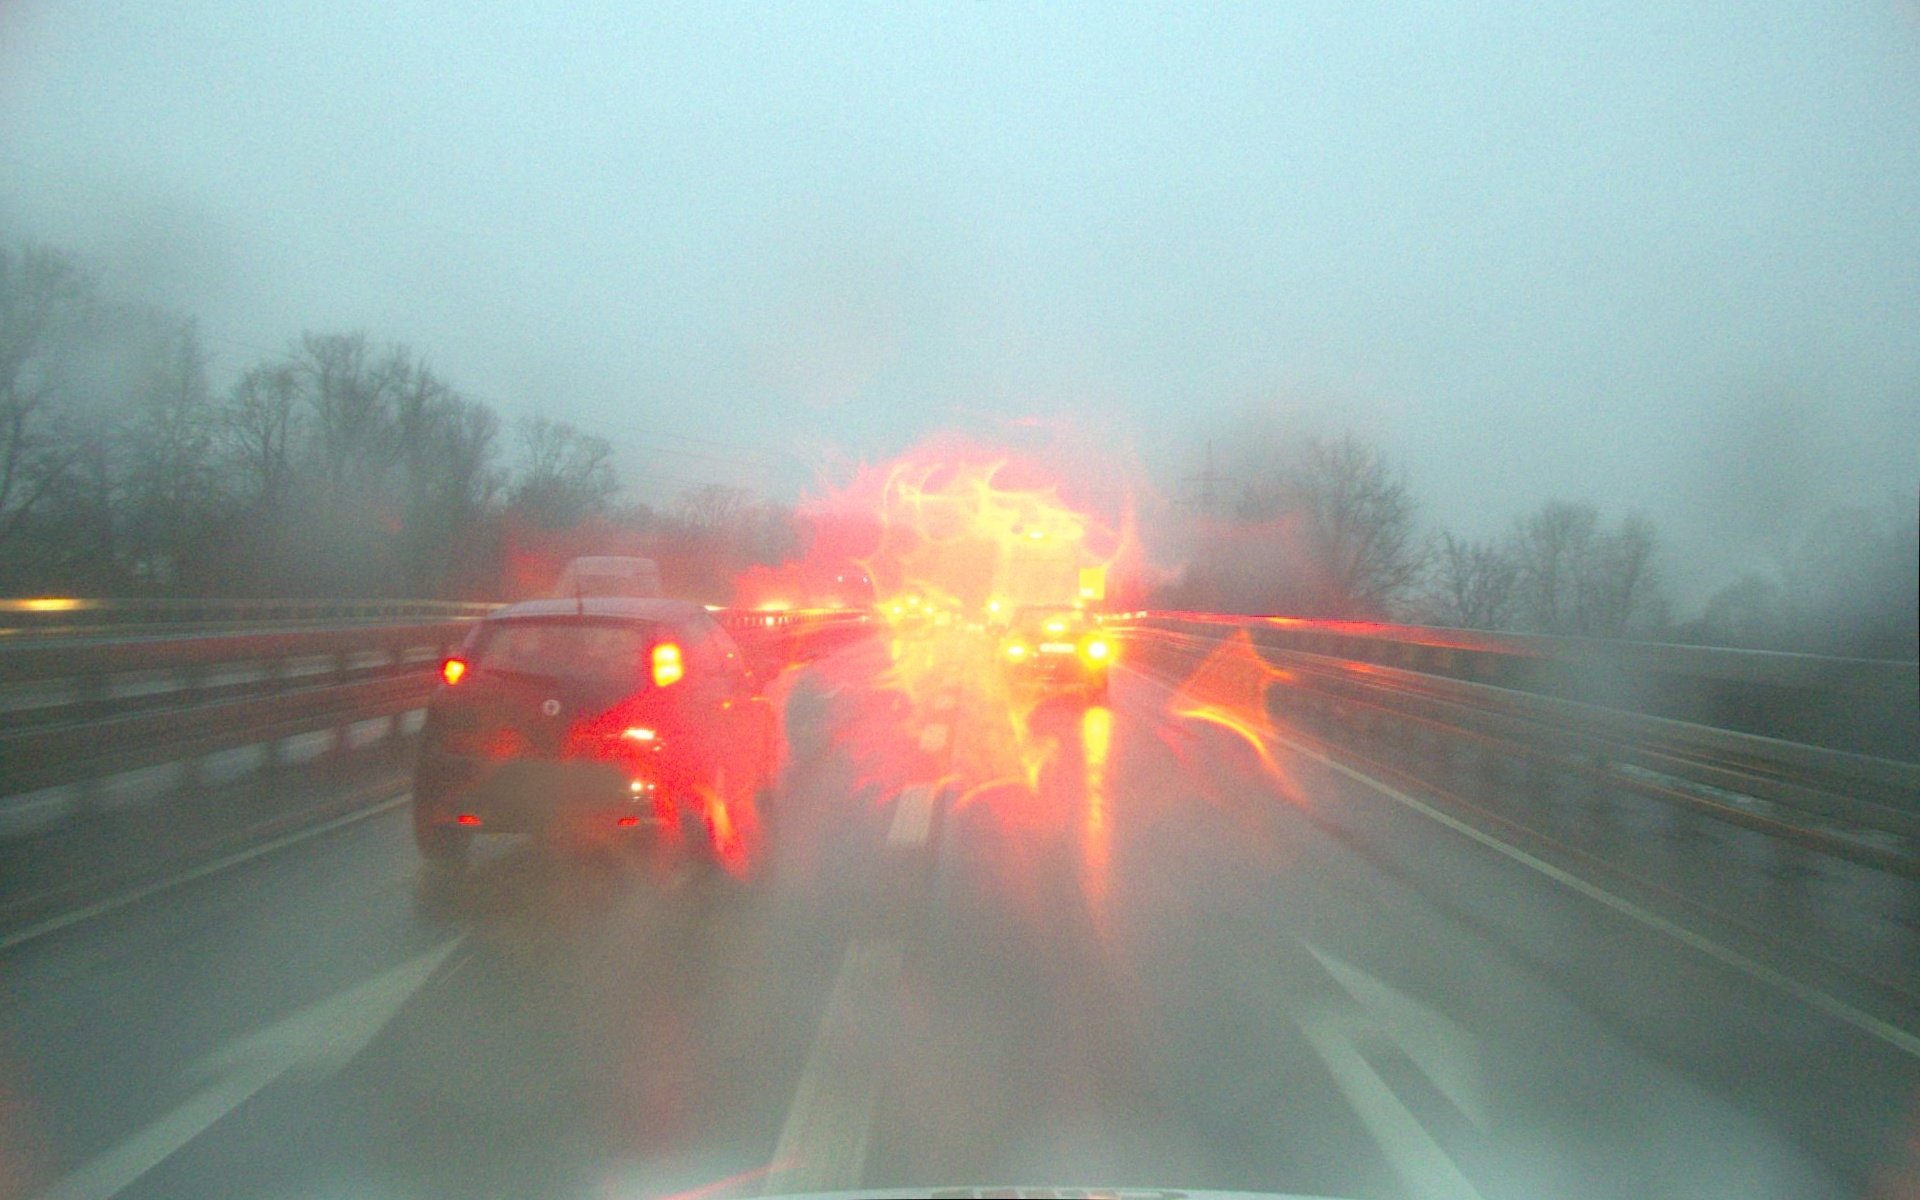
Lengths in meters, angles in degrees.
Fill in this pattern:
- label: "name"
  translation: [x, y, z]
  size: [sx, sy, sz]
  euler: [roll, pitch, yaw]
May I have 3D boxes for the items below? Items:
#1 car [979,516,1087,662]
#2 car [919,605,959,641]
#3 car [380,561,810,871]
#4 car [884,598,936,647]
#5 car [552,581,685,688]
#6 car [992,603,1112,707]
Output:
- label: "car"
  translation: [1.563, -0.186, 37.653]
  size: [2.235, 3.018, 6.390]
  euler: [0, -1, 1]
- label: "car"
  translation: [-1.107, 1.197, 85.691]
  size: [1.953, 1.744, 3.998]
  euler: [2, -1, -2]
- label: "car"
  translation: [-2.031, 0.630, 10.394]
  size: [1.694, 1.559, 4.042]
  euler: [0, -1, 2]
- label: "car"
  translation: [-2.033, 0.899, 68.176]
  size: [1.953, 1.846, 3.999]
  euler: [3, 0, -1]
- label: "car"
  translation: [-7.819, 0.782, 38.380]
  size: [2.007, 2.303, 5.207]
  euler: [0, -1, 0]
- label: "car"
  translation: [1.430, 0.821, 26.611]
  size: [1.700, 1.439, 4.379]
  euler: [3, 0, 2]
